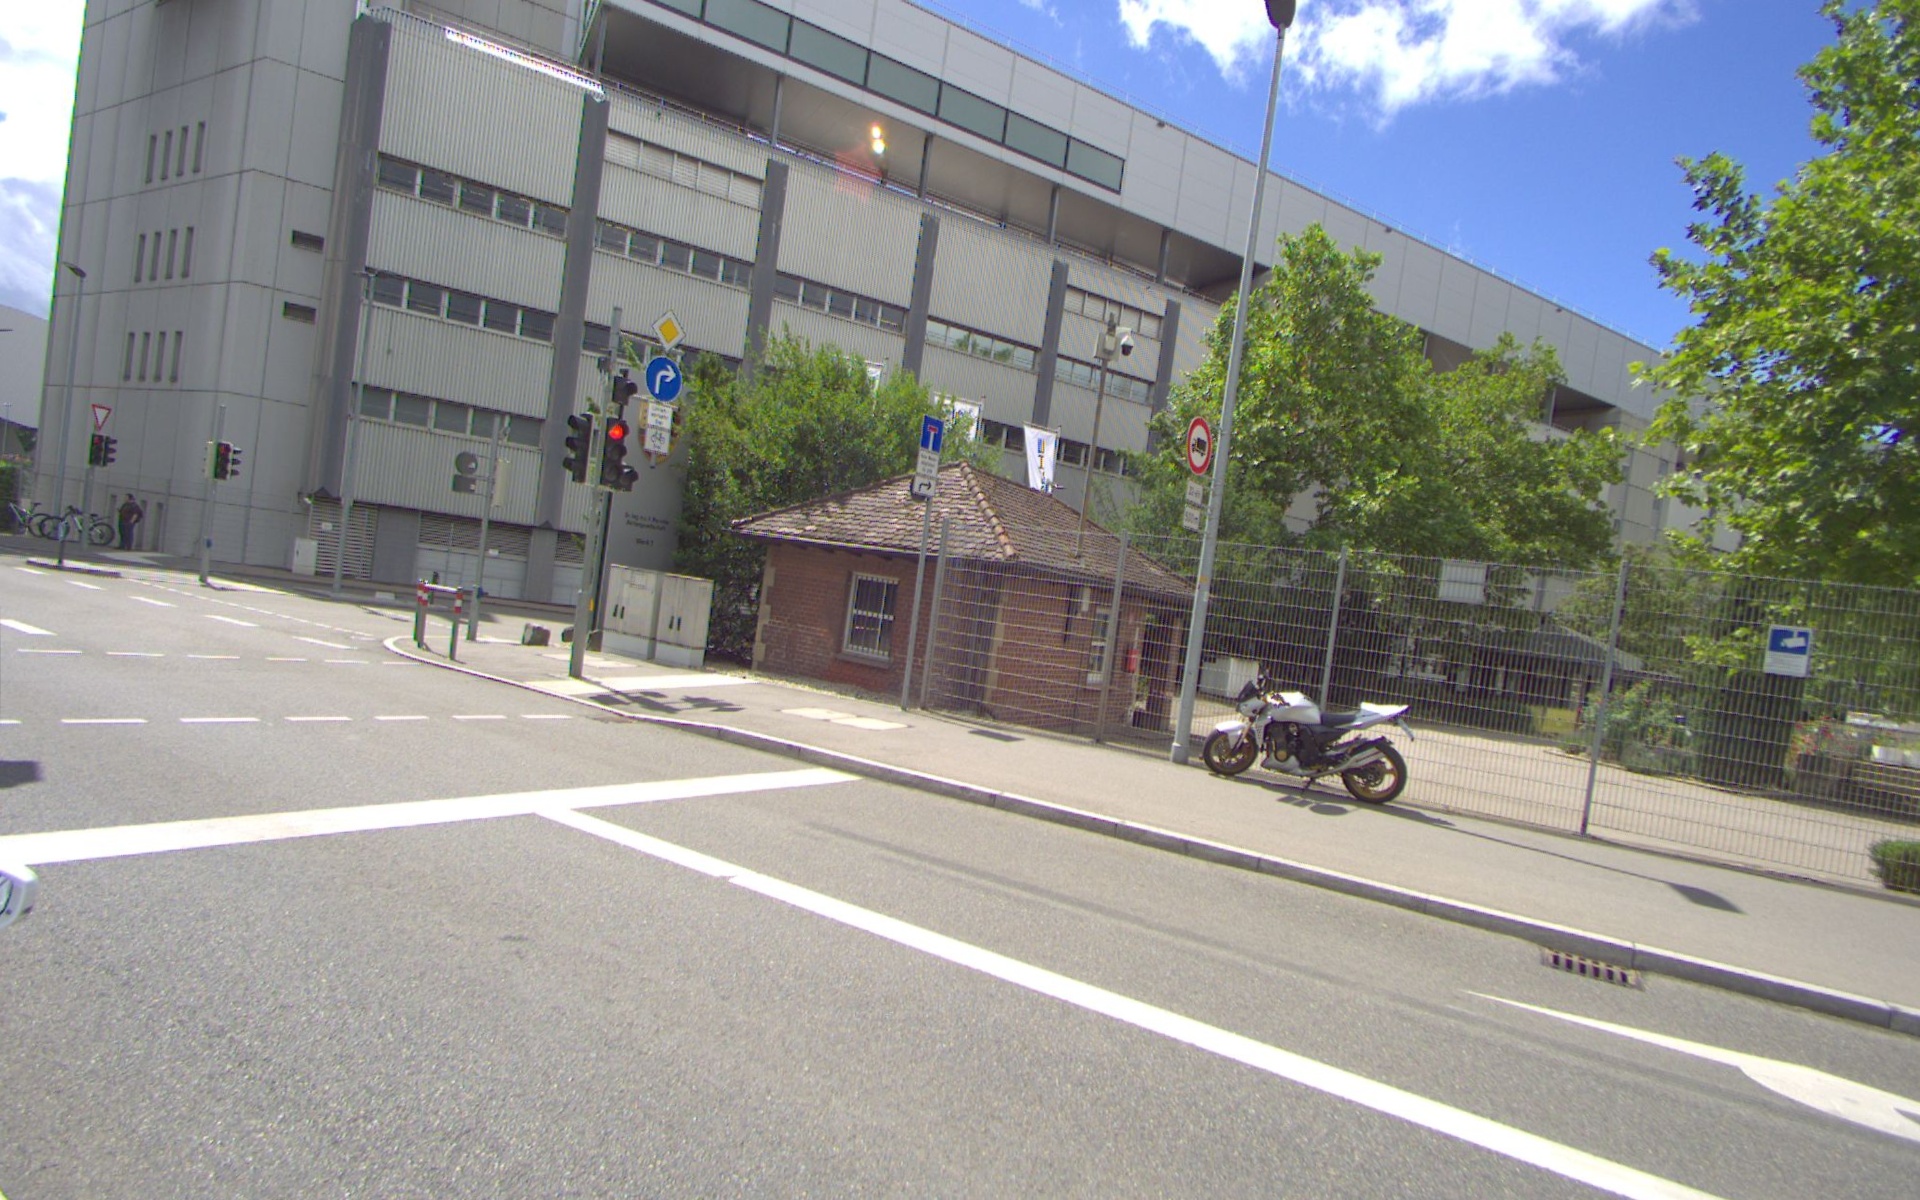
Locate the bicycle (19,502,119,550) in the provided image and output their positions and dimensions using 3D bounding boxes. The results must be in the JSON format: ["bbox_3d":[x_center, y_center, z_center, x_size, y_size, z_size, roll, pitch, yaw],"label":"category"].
[{"bbox_3d":[-27.331,-2.261,30.898,2.166,1.099,0.474,8,-1,-23],"label":"bicycle"}]

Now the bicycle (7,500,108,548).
[{"bbox_3d":[-27.959,-2.332,31.204,2.197,1.099,0.474,8,-1,-23],"label":"bicycle"}]

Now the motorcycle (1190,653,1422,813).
[{"bbox_3d":[3.417,1.265,10.023,1.980,1.239,0.687,6,2,32],"label":"motorcycle"}]

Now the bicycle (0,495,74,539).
[{"bbox_3d":[-29.295,-2.638,31.489,2.197,1.099,0.474,8,-1,-23],"label":"bicycle"}]

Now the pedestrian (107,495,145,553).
[{"bbox_3d":[-25.408,-2.300,30.661,0.651,1.659,0.531,8,-1,-30],"label":"pedestrian"}]
